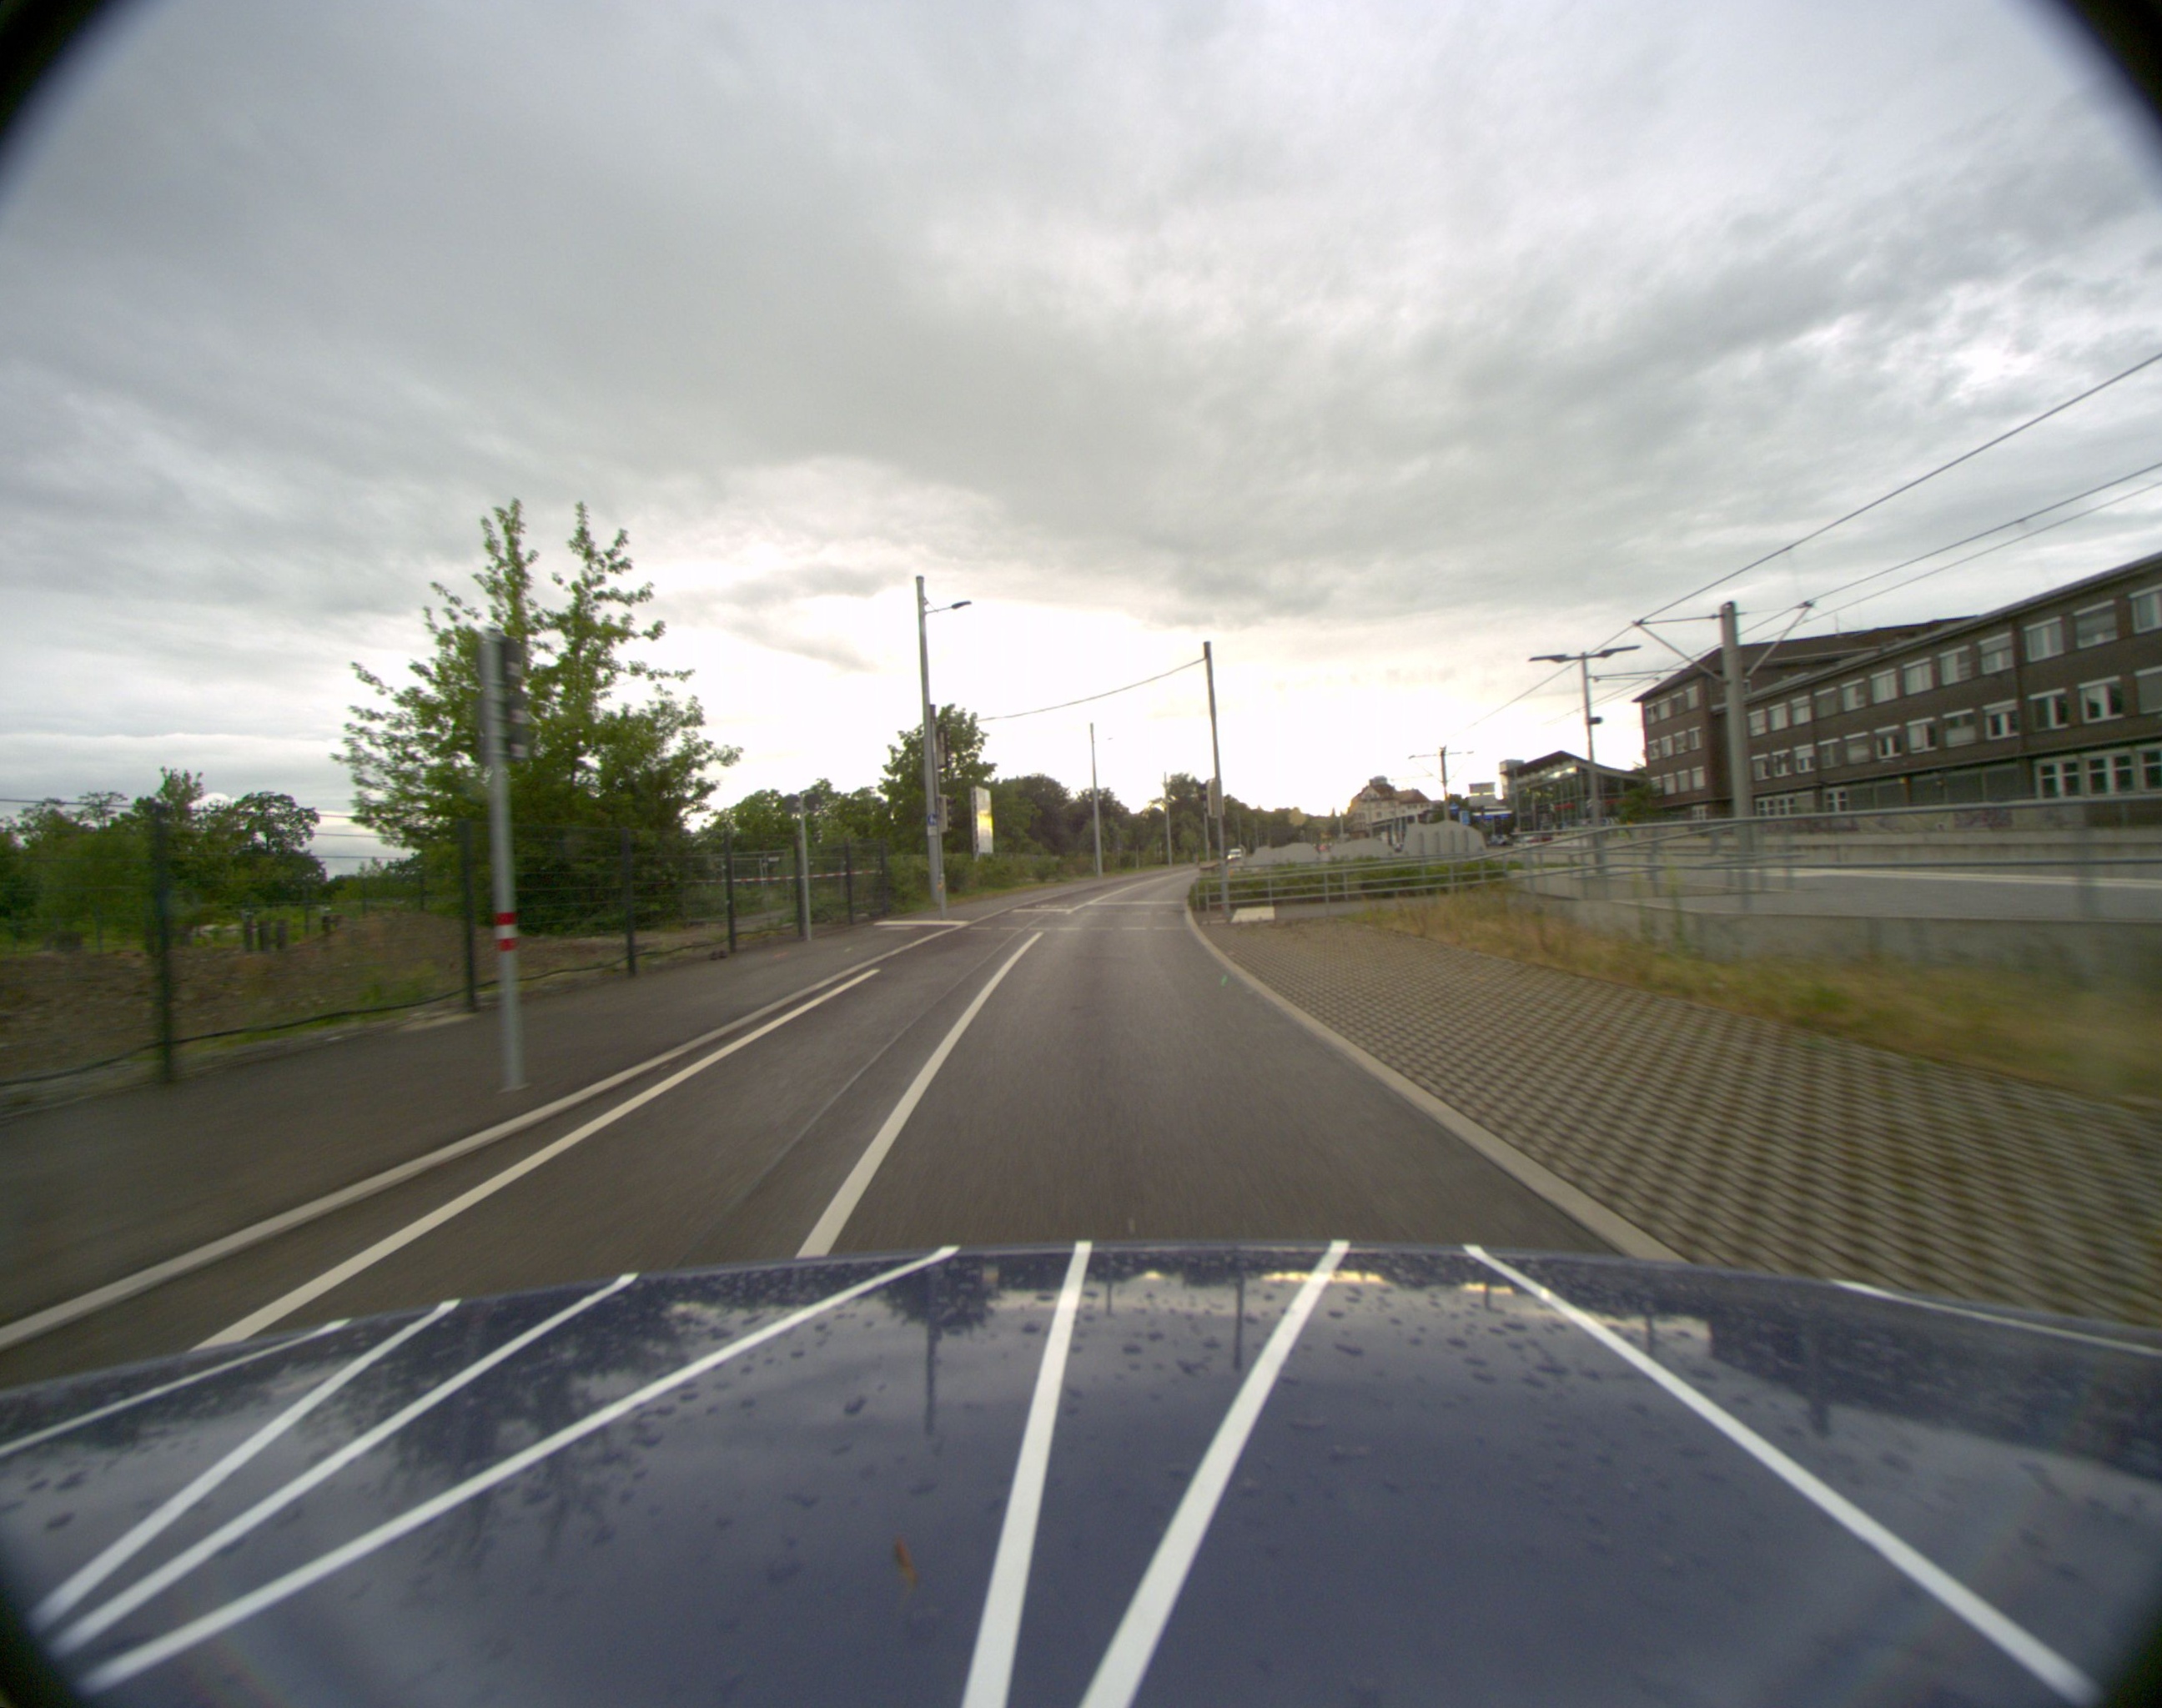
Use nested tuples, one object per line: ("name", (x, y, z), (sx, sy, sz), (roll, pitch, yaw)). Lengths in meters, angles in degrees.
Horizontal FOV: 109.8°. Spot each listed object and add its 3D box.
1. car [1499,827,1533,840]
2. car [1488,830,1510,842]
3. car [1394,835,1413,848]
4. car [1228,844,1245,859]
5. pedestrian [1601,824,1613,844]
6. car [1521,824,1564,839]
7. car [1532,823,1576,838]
("car", (65.307, -3.063, 114.085), (3.993, 1.761, 2.002), (-3, 0, 14))
("car", (65.660, -2.859, 119.405), (1.997, 1.761, 4.003), (-3, 0, 13))
("car", (54.078, -2.046, 127.431), (1.997, 2.002, 4.003), (-2, 0, 11))
("car", (21.390, -0.315, 104.373), (1.996, 2.002, 4.004), (-2, 0, 14))
("pedestrian", (52.999, -2.004, 76.535), (0.581, 2.002, 0.728), (-3, 1, -23))
("car", (63.390, -3.028, 104.416), (4.572, 1.750, 2.002), (-3, 0, 14))
("car", (62.976, -3.109, 101.292), (4.572, 1.750, 2.002), (-3, 0, 14))
